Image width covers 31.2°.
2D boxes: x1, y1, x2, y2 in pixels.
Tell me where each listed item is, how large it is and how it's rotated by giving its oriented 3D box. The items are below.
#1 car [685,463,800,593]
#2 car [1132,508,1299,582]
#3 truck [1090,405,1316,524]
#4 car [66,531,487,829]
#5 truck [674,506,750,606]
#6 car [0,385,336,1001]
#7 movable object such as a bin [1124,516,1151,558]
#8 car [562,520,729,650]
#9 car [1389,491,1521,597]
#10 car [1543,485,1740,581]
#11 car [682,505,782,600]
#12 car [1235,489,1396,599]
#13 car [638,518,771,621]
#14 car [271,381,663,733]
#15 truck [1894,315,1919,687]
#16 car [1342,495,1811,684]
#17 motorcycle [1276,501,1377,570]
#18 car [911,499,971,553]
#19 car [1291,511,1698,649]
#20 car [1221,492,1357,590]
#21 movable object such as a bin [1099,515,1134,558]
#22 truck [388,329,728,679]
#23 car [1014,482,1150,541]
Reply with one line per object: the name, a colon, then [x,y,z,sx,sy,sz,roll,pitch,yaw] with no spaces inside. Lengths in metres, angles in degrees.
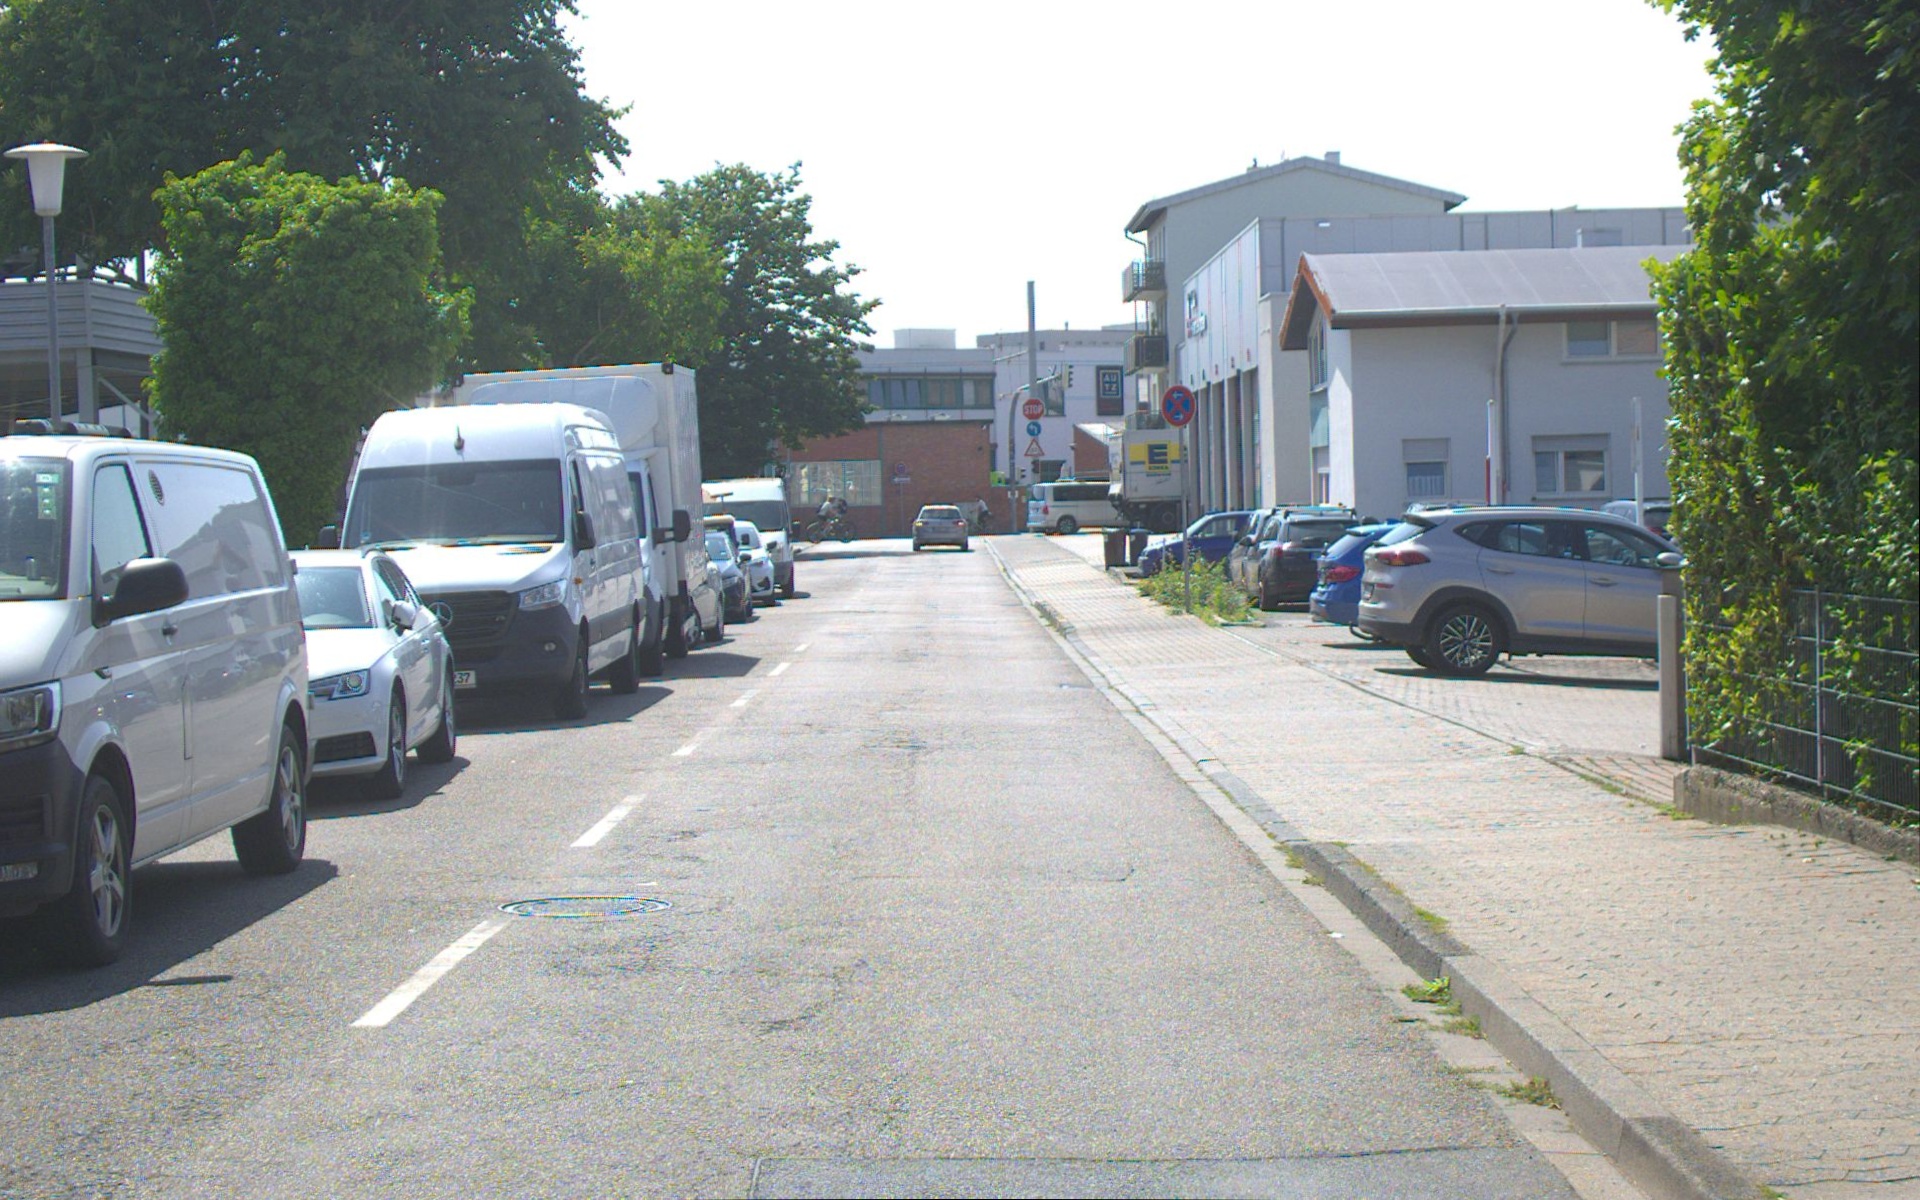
car: [-4.298,-1.461,68.624,2.005,2.358,5.230,-4,2,-2]
car: [5.205,-1.130,70.336,3.253,1.394,1.673,-2,2,0]
truck: [8.569,-4.775,121.447,7.357,3.632,2.768,-4,2,-6]
car: [-4.026,0.397,20.930,1.714,1.538,4.401,-3,1,-1]
truck: [-4.303,-0.785,59.852,1.138,1.616,3.142,-3,2,-2]
car: [-3.993,0.303,13.752,1.971,2.007,5.056,-3,1,0]
movable object such as a bin: [4.041,-1.435,78.345,0.514,0.943,0.487,-2,2,11]
car: [-3.992,-0.232,44.202,1.741,1.516,4.310,-2,2,0]
car: [8.003,-0.942,55.836,1.760,1.589,3.619,2,2,3]
car: [11.498,-1.142,58.266,1.759,1.490,4.151,-3,2,-11]
car: [-4.239,-0.905,63.459,1.704,1.618,3.974,-3,2,-5]
car: [5.407,-0.908,52.893,1.858,1.562,4.952,-2,2,-1]
car: [-3.983,-0.513,54.073,1.704,1.458,4.114,-3,2,0]
car: [-4.065,-0.388,29.733,2.168,2.587,6.920,-3,1,1]
truck: [12.560,-0.780,30.898,7.518,3.411,2.527,2,1,0]
car: [5.976,-0.121,33.657,4.201,1.676,1.767,2,1,-1]
motorcycle: [7.356,-1.303,69.034,1.869,1.275,0.797,-3,2,-3]
car: [-0.634,-2.422,112.446,1.890,1.679,3.958,2,1,-1]
car: [6.123,-0.250,39.712,4.352,1.436,1.892,-2,1,-1]
car: [5.554,-1.029,58.448,1.811,1.553,4.293,-2,2,-1]
movable object such as a bin: [3.548,-1.437,77.936,0.568,0.943,0.556,-1,2,33]
truck: [-4.205,-1.012,37.465,2.685,3.354,7.130,-2,1,1]
car: [4.616,-3.326,129.736,4.653,1.951,1.917,-3,0,-19]
